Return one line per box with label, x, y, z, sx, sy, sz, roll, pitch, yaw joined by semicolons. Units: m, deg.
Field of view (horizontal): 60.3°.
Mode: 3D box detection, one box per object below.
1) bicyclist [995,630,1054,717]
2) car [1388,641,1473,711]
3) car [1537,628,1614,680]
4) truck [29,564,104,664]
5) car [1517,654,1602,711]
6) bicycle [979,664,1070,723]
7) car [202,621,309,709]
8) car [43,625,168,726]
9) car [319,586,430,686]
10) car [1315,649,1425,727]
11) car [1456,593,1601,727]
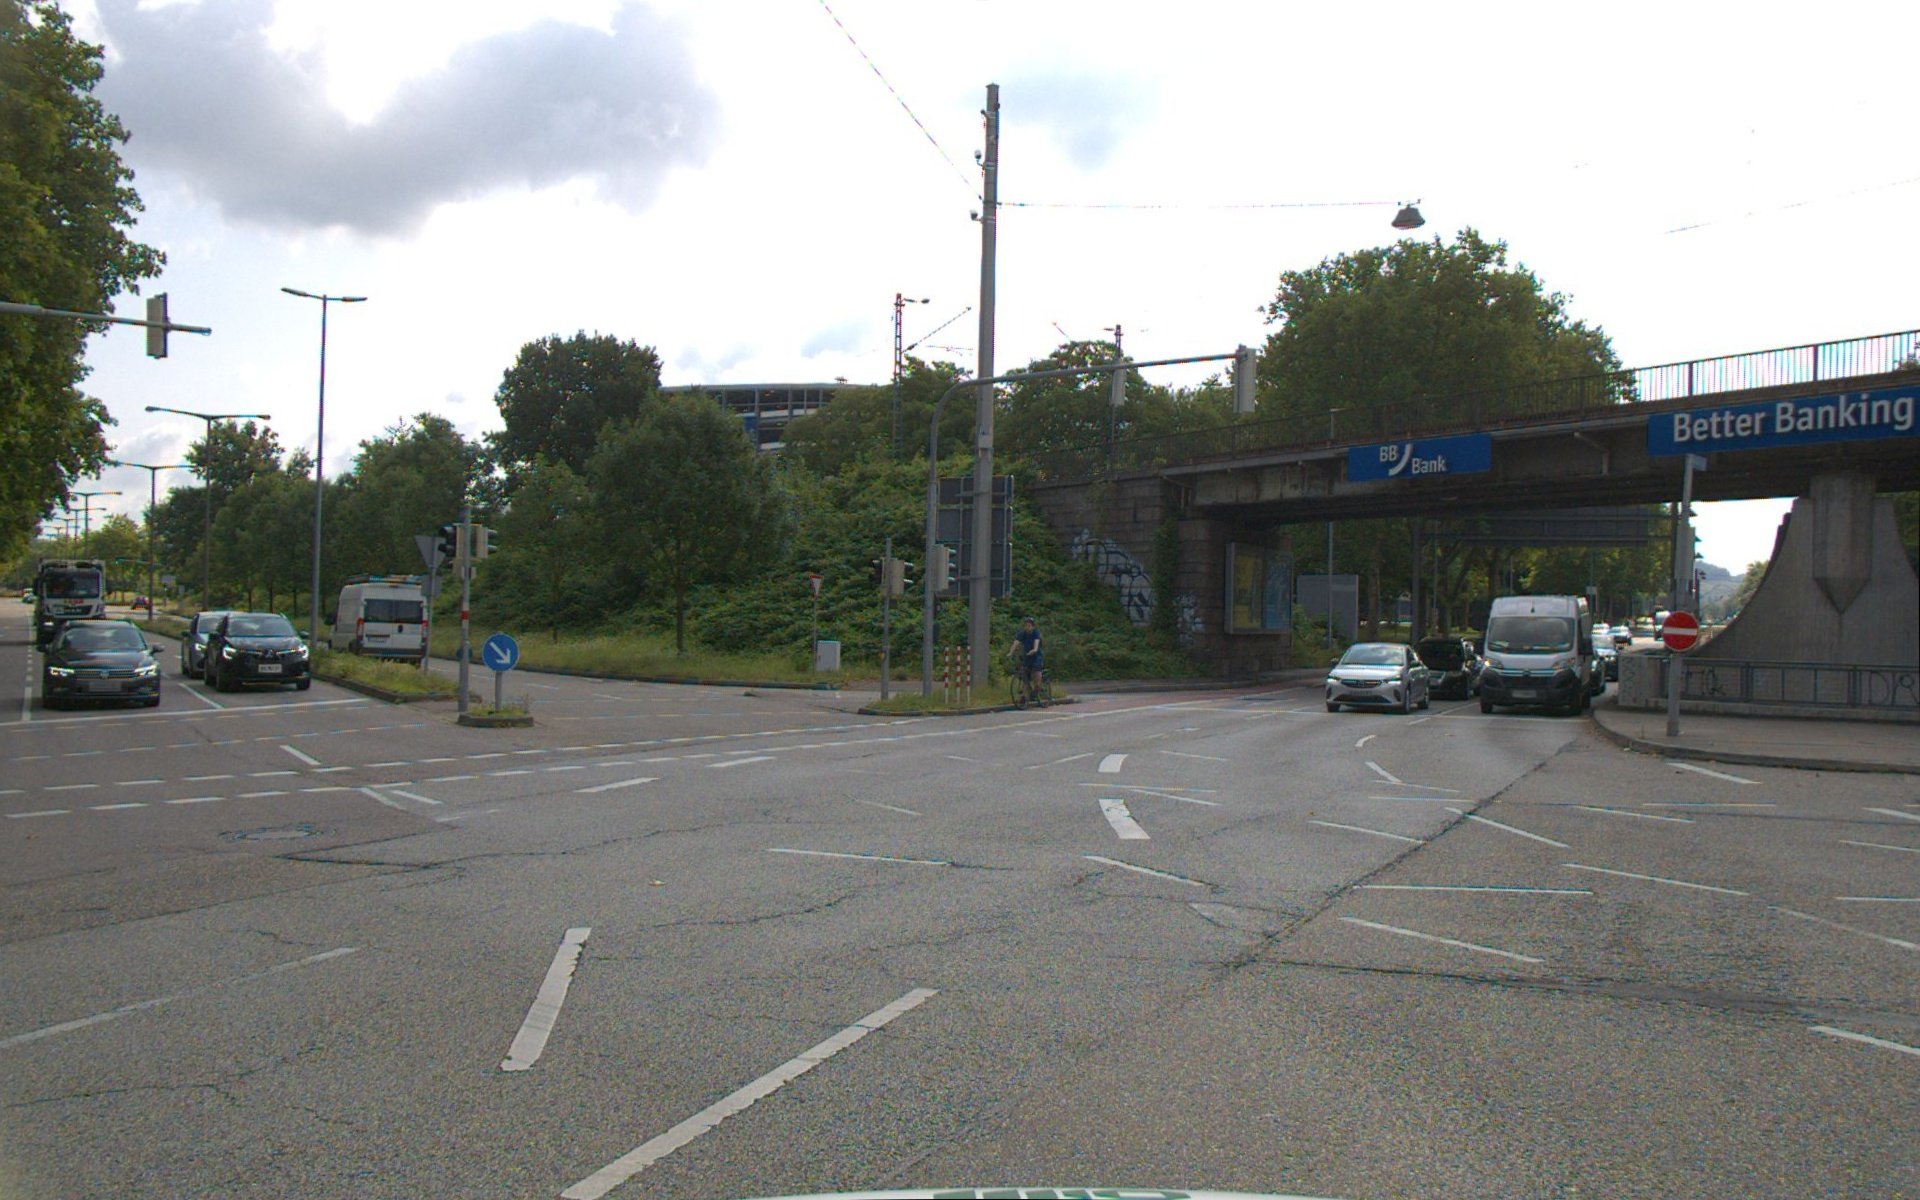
bicyclist;1.327;1.510;33.989;0.827;1.708;0.821;-4;-1;32
car;12.249;1.934;42.879;1.728;1.611;4.664;-2;-1;20
car;21.912;1.883;58.781;1.955;1.635;3.994;-3;-1;29
truck;-38.774;0.476;71.722;2.621;3.955;10.063;1;1;-29
car;16.955;2.303;46.684;1.641;1.372;3.994;-3;-1;28
bicycle;1.343;1.896;33.988;0.827;1.113;2.312;1;-1;32
car;-15.053;1.320;35.228;1.689;1.615;4.321;-2;1;-28
car;-15.531;1.317;30.051;1.843;1.601;4.526;2;-1;-28
car;-17.686;1.003;49.848;2.176;2.773;4.879;-1;2;-31
car;8.879;1.841;35.614;1.668;1.502;3.998;0;-1;24
car;12.586;1.237;36.342;2.214;2.570;5.622;-5;-2;26
